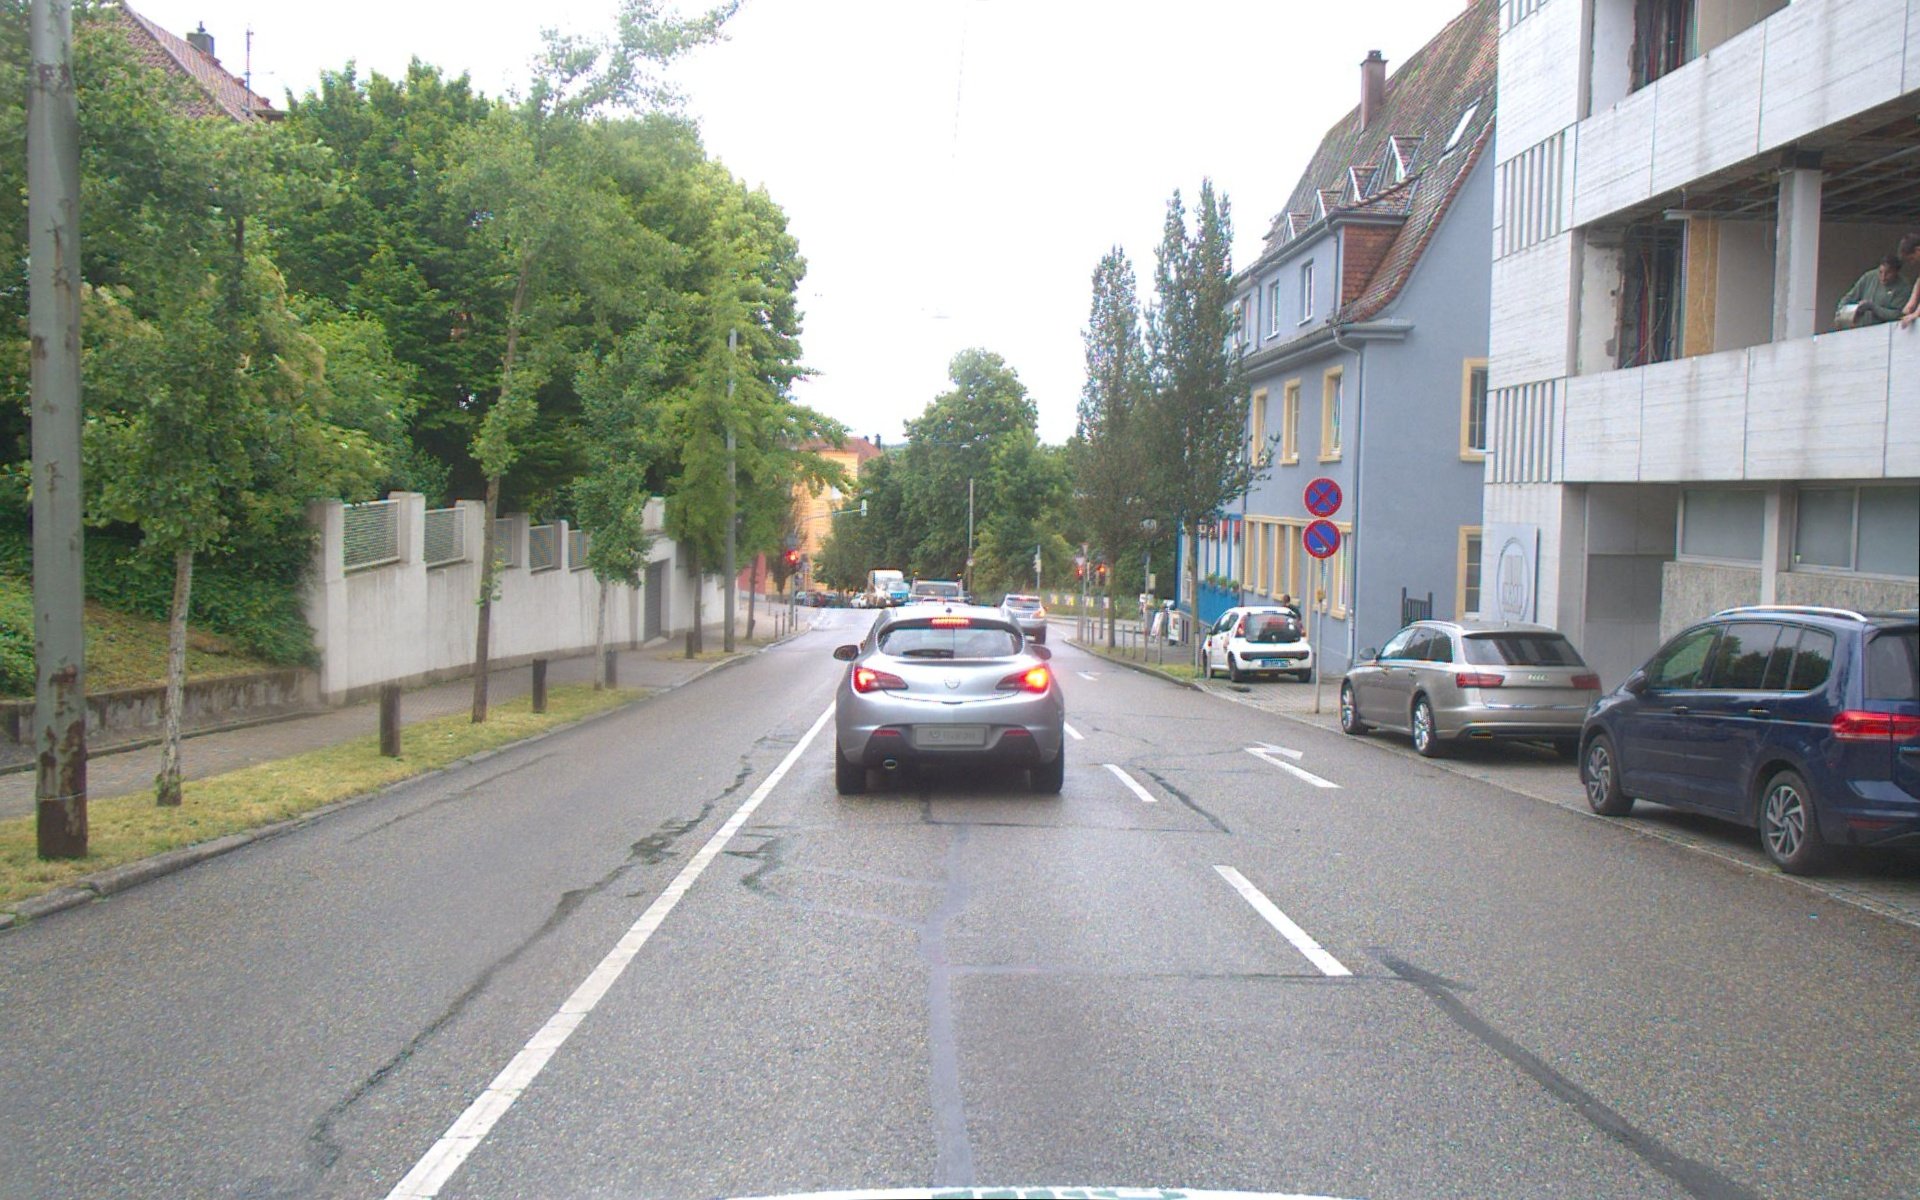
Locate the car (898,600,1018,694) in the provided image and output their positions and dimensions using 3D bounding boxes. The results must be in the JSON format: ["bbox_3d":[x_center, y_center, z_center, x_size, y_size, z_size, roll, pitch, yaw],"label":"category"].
[{"bbox_3d":[-0.108,0.776,29.307,1.922,1.473,4.303,2,0,-2],"label":"car"}]

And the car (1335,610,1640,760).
[{"bbox_3d":[5.910,0.880,19.171,1.923,1.473,4.524,0,0,-3],"label":"car"}]

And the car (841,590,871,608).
[{"bbox_3d":[-9.103,-0.110,144.447,1.696,1.570,3.859,0,0,-18],"label":"car"}]

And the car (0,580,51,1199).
[{"bbox_3d":[-3.033,0.769,2.088,1.675,1.558,3.841,-2,0,-2],"label":"car"}]

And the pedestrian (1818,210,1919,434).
[{"bbox_3d":[9.151,-2.719,16.338,0.889,2.049,0.861,1,-1,-1],"label":"pedestrian"}]

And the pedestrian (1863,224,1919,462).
[{"bbox_3d":[9.015,-2.337,15.259,0.889,2.049,0.861,1,-1,-1],"label":"pedestrian"}]

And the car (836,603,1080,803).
[{"bbox_3d":[-0.102,0.769,14.164,1.800,1.459,3.877,0,0,-3],"label":"car"}]

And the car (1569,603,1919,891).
[{"bbox_3d":[5.952,0.845,11.563,1.694,1.627,4.159,0,0,-3],"label":"car"}]

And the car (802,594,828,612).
[{"bbox_3d":[-14.308,0.303,163.117,1.696,1.666,3.859,0,0,-18],"label":"car"}]

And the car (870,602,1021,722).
[{"bbox_3d":[-0.258,0.812,23.583,1.922,1.473,4.303,2,0,-2],"label":"car"}]

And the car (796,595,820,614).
[{"bbox_3d":[-13.773,0.395,149.960,1.692,1.667,3.868,1,-1,-12],"label":"car"}]

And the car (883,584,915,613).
[{"bbox_3d":[-3.619,-0.071,97.809,1.833,1.666,3.878,0,0,-2],"label":"car"}]

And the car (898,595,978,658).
[{"bbox_3d":[-0.605,0.632,42.340,1.922,1.473,4.303,2,0,-2],"label":"car"}]

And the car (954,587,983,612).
[{"bbox_3d":[0.594,-0.054,114.178,1.689,1.666,3.876,0,0,-4],"label":"car"}]

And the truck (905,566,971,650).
[{"bbox_3d":[-0.755,0.217,52.340,1.922,2.471,4.933,2,0,-2],"label":"truck"}]

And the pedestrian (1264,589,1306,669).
[{"bbox_3d":[7.338,0.647,37.349,0.767,1.759,0.650,1,0,-1],"label":"pedestrian"}]

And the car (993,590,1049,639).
[{"bbox_3d":[2.194,0.514,60.421,1.688,1.744,3.877,0,0,-3],"label":"car"}]

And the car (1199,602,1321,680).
[{"bbox_3d":[6.105,0.798,34.056,1.688,1.474,3.878,0,0,-2],"label":"car"}]

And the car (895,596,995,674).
[{"bbox_3d":[-0.367,0.689,34.683,1.922,1.473,4.303,2,0,-2],"label":"car"}]

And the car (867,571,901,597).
[{"bbox_3d":[-4.883,-1.007,105.429,1.691,1.666,3.871,0,0,-10],"label":"car"}]
